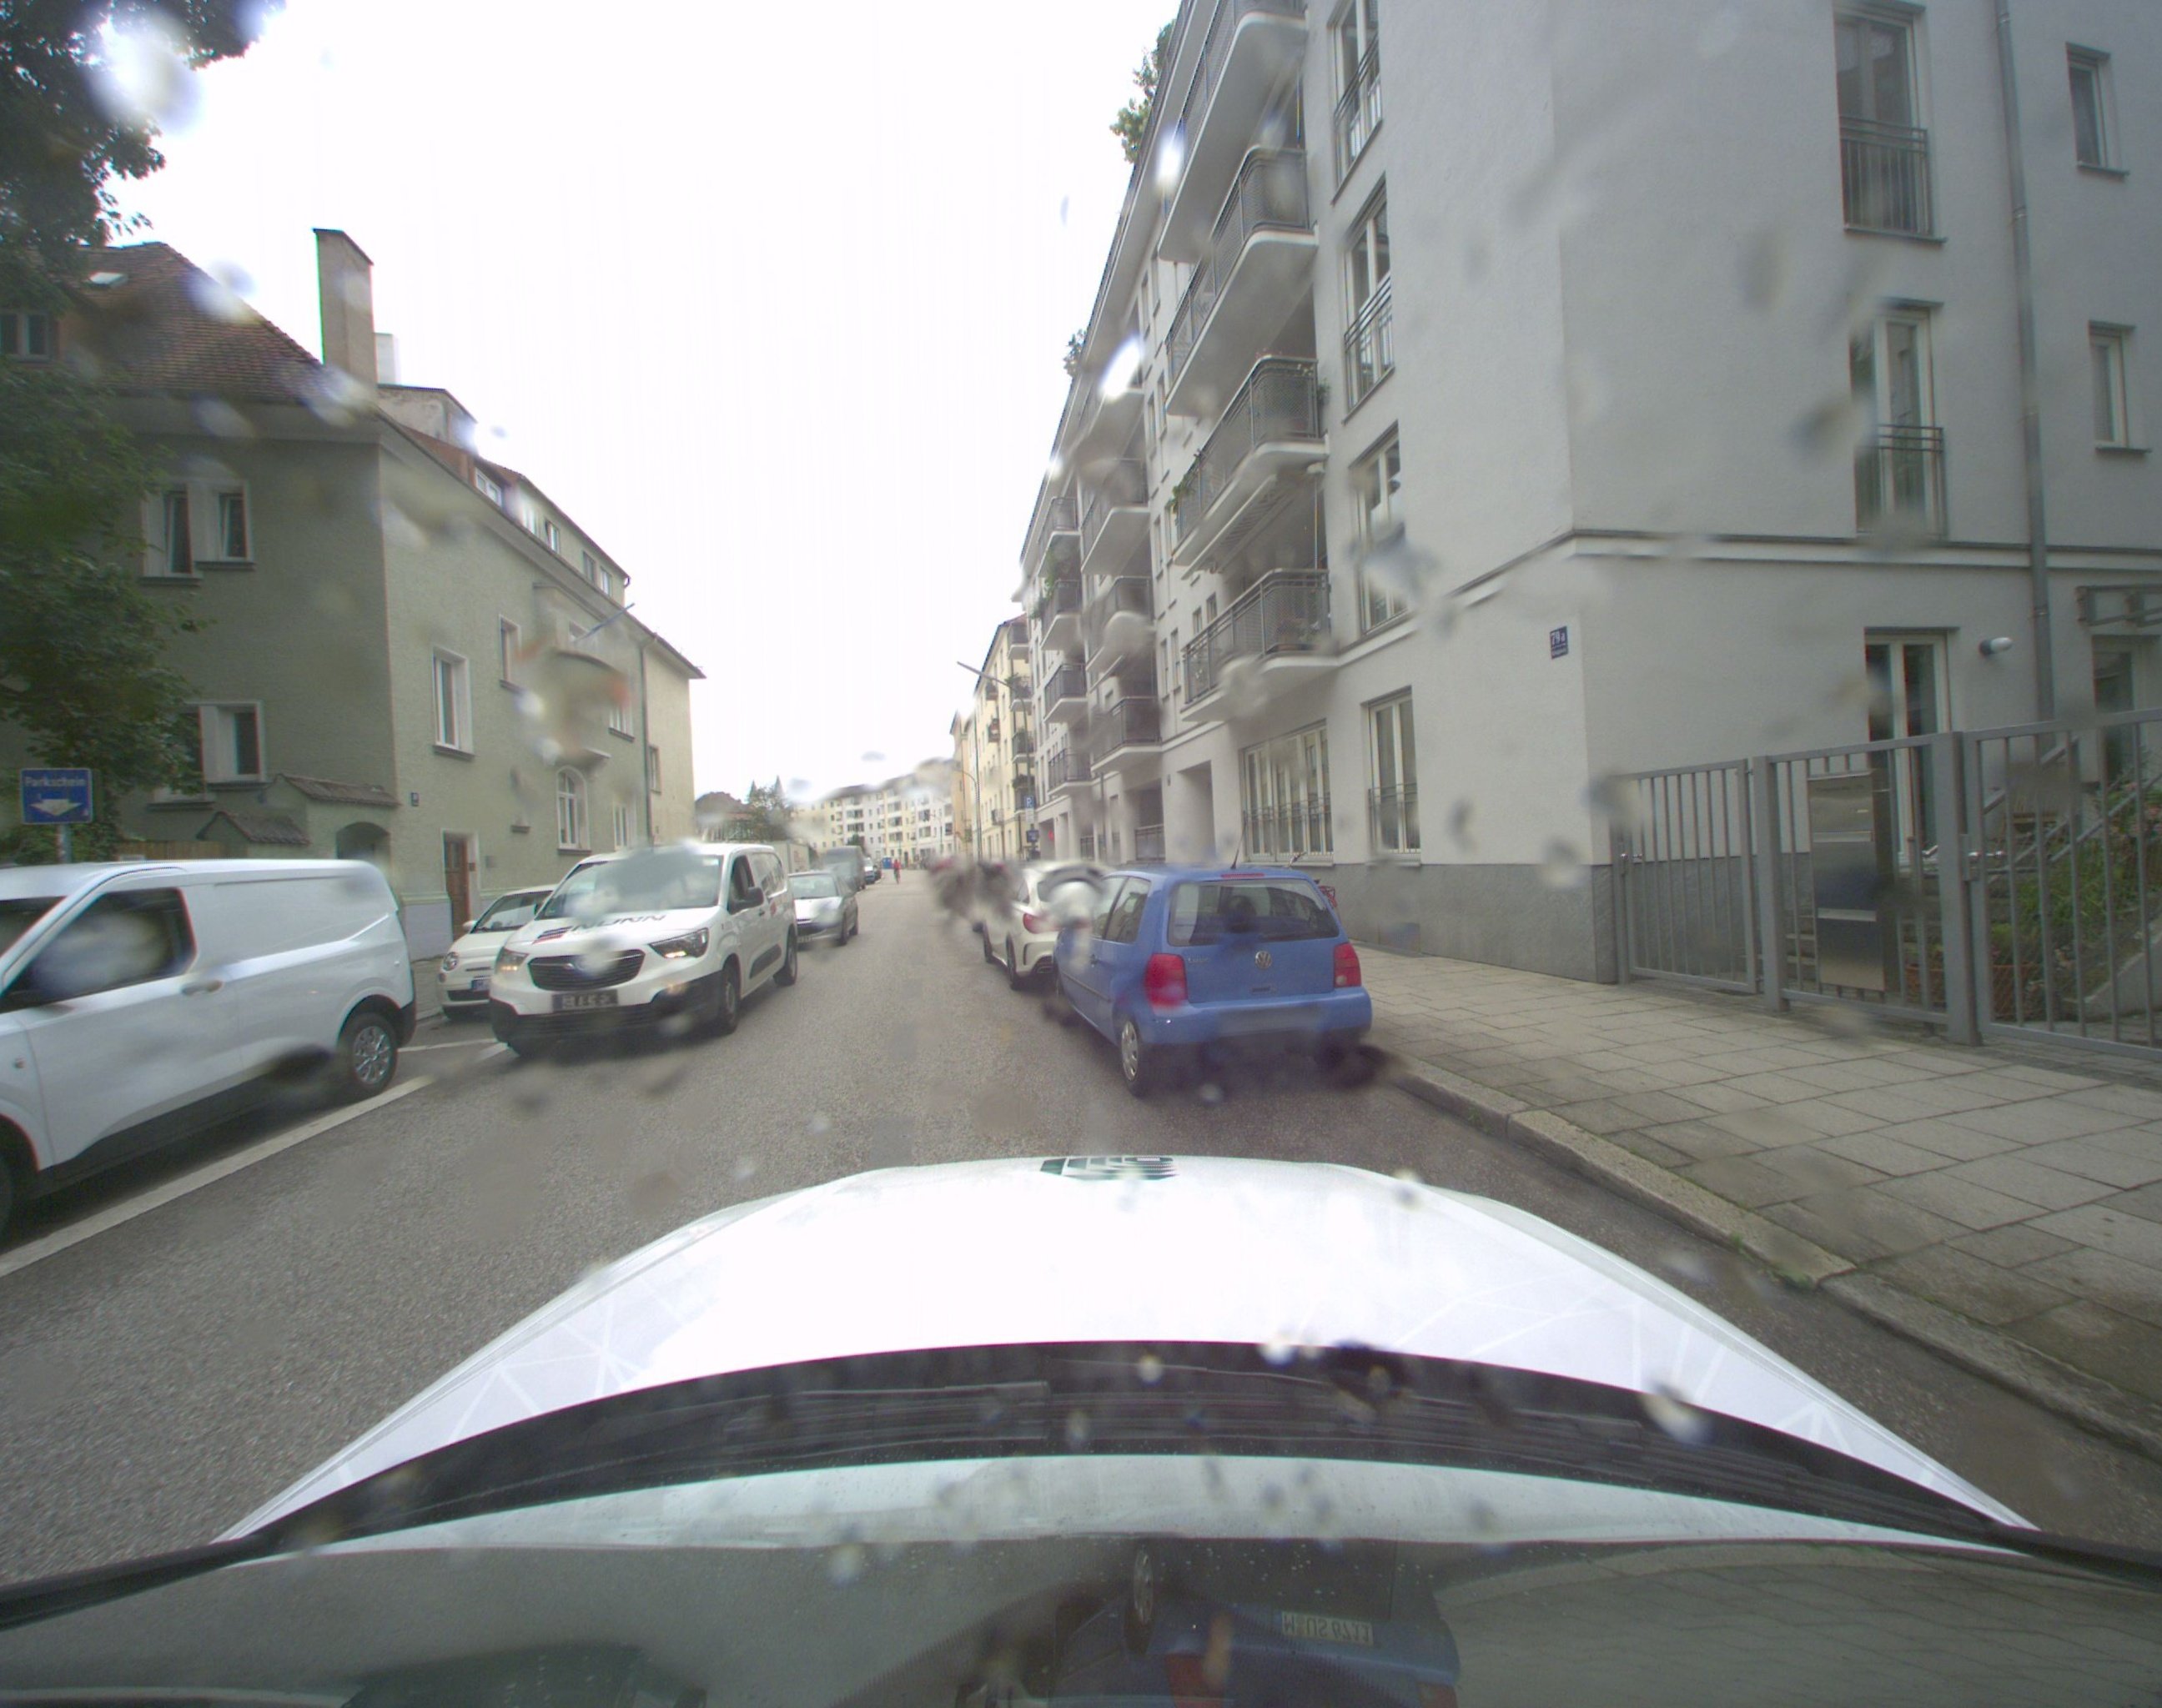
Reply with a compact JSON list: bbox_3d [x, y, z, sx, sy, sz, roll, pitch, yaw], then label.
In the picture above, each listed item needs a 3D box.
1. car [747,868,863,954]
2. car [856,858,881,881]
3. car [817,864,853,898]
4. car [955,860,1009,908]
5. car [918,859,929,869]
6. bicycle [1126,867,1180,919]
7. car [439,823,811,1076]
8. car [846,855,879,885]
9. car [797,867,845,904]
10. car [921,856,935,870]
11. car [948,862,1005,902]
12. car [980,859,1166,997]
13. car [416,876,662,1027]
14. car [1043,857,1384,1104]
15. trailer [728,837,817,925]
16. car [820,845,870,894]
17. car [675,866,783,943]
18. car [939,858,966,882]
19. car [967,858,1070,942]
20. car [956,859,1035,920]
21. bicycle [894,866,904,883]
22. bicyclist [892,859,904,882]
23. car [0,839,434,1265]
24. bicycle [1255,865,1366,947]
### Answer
[{"bbox_3d":[-5.356,1.033,16.202,1.581,1.411,3.599,-3,0,-10],"label":"car"},{"bbox_3d":[-17.732,1.254,68.101,1.703,1.691,4.010,-5,1,-12],"label":"car"},{"bbox_3d":[-12.684,1.346,42.133,1.589,1.538,3.524,-4,0,-16],"label":"car"},{"bbox_3d":[-3.478,0.983,28.169,1.520,1.530,3.512,-1,0,-12],"label":"car"},{"bbox_3d":[-21.375,1.321,110.313,1.273,1.299,2.785,-2,0,-13],"label":"car"},{"bbox_3d":[1.721,0.910,19.811,0.628,1.160,2.117,-3,0,-13],"label":"bicycle"},{"bbox_3d":[-4.274,0.752,8.601,1.771,1.803,4.558,-5,0,-8],"label":"car"},{"bbox_3d":[-16.221,1.158,60.753,1.884,1.931,4.584,-5,1,-11],"label":"car"},{"bbox_3d":[-11.667,1.390,36.735,1.703,1.445,3.807,-2,1,-14],"label":"car"},{"bbox_3d":[-18.706,1.032,99.511,1.475,1.641,3.983,-2,0,-13],"label":"car"},{"bbox_3d":[-4.196,1.078,32.187,1.766,1.408,4.059,-3,0,-14],"label":"car"},{"bbox_3d":[-0.317,0.804,10.875,1.659,1.440,4.188,0,0,-13],"label":"car"},{"bbox_3d":[-6.774,1.102,10.591,1.475,1.466,3.299,-4,0,-13],"label":"car"},{"bbox_3d":[0.748,0.763,6.638,1.619,1.412,3.540,-1,-1,-11],"label":"car"},{"bbox_3d":[-9.918,0.809,26.502,1.709,2.461,4.371,-5,1,-10],"label":"trailer"},{"bbox_3d":[-13.907,0.840,48.256,2.088,2.636,5.358,-3,1,-10],"label":"car"},{"bbox_3d":[-8.895,1.205,20.920,1.688,1.603,3.905,-5,1,-12],"label":"car"},{"bbox_3d":[-8.783,1.043,55.525,1.596,1.509,3.786,-3,0,-11],"label":"car"},{"bbox_3d":[-1.422,0.862,17.116,1.605,1.530,3.967,0,-1,-13],"label":"car"},{"bbox_3d":[-2.535,0.918,23.137,1.735,1.530,4.601,0,0,-12],"label":"car"},{"bbox_3d":[-12.750,1.415,56.993,0.504,1.128,1.768,-4,0,-8],"label":"bicycle"},{"bbox_3d":[-12.793,1.133,56.977,0.694,1.561,0.964,-4,0,-9],"label":"bicyclist"},{"bbox_3d":[-5.689,0.908,4.365,1.692,1.803,4.128,-5,1,-12],"label":"car"},{"bbox_3d":[3.163,0.703,11.432,0.678,1.028,1.827,-3,-2,-12],"label":"bicycle"}]
